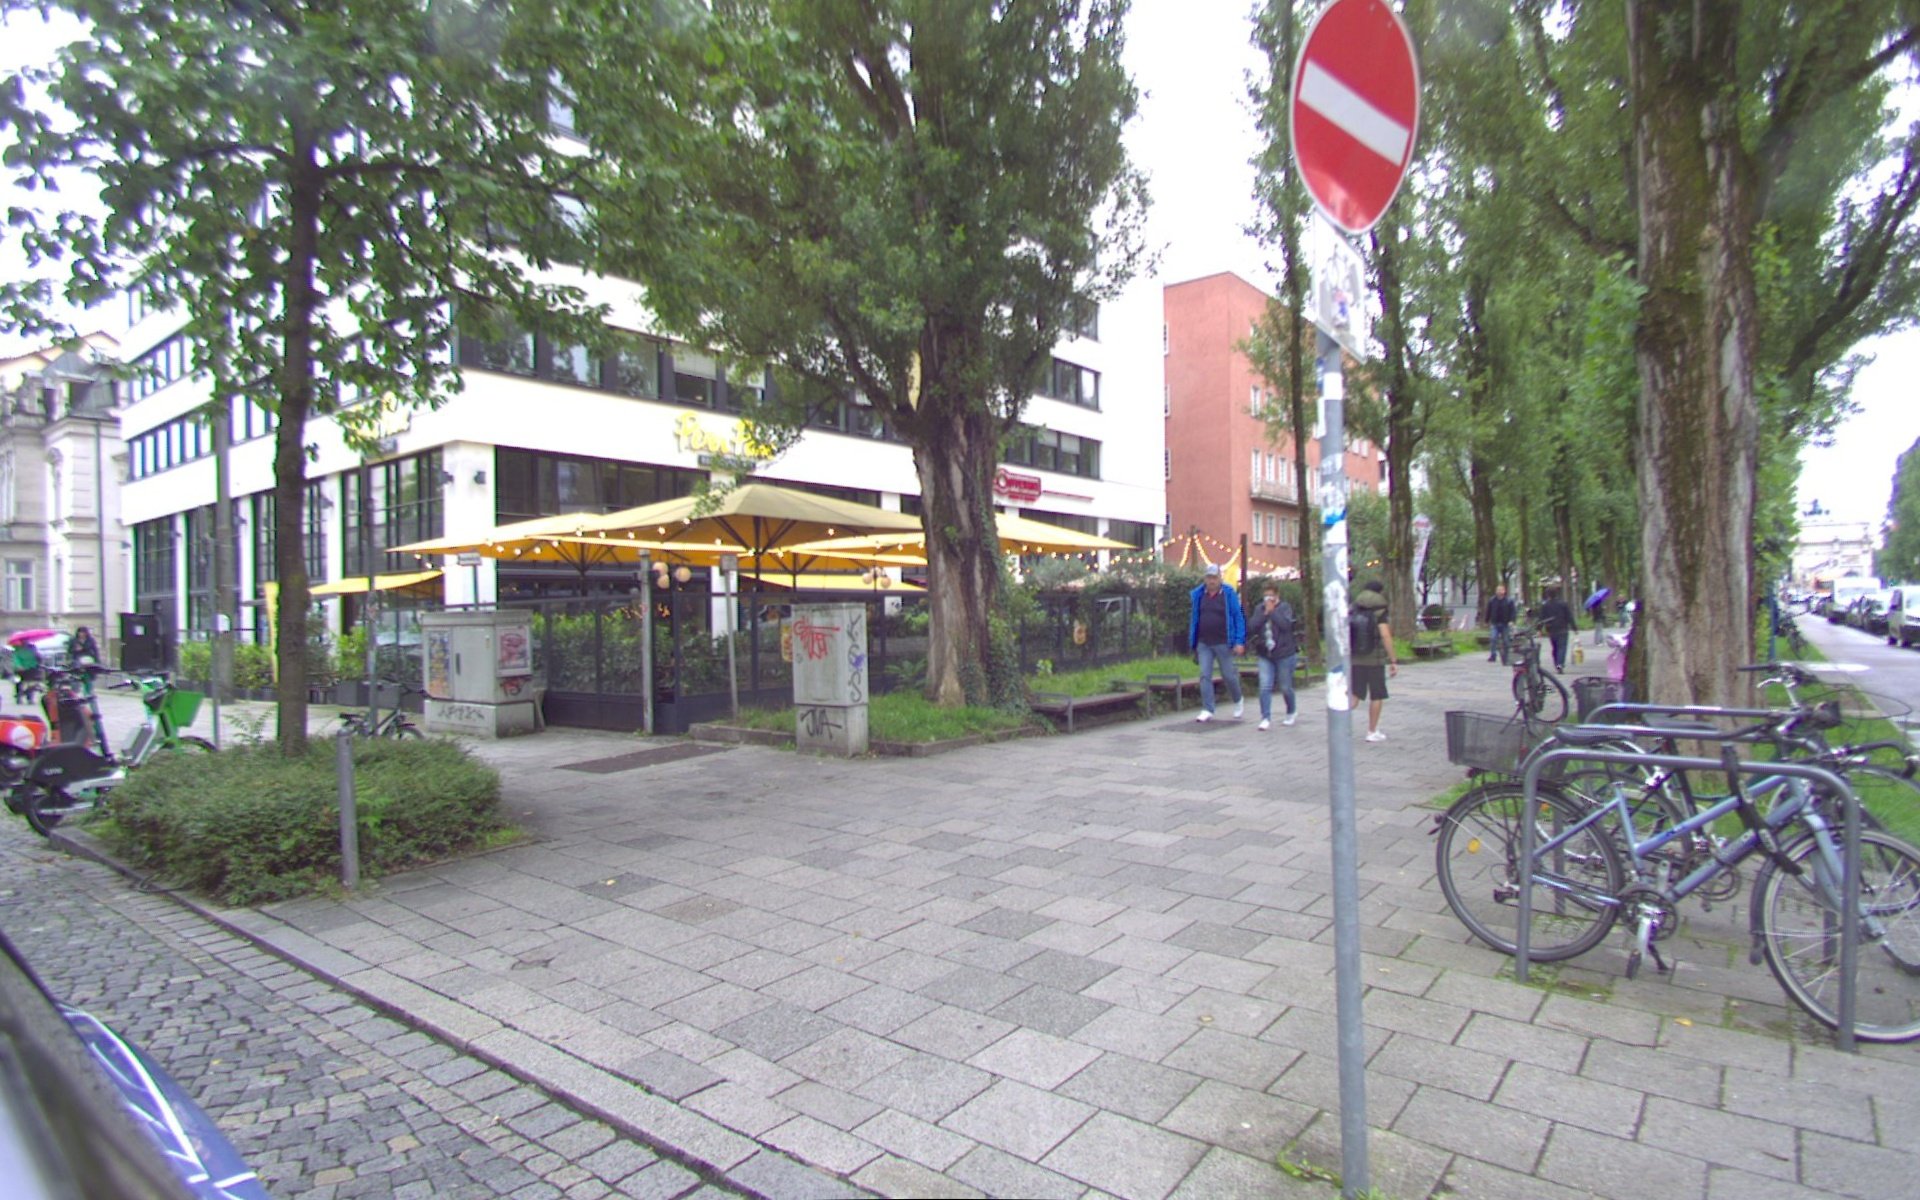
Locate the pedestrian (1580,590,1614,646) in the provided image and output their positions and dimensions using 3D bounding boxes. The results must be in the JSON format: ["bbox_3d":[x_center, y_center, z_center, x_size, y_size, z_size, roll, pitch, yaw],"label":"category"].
[{"bbox_3d":[19.723,0.561,31.347,0.736,1.705,0.638,-2,-1,43],"label":"pedestrian"}]

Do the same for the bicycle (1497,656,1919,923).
[{"bbox_3d":[3.797,0.847,4.958,1.984,1.101,0.484,-2,-1,44],"label":"bicycle"}]

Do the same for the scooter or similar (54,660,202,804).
[{"bbox_3d":[-8.198,1.262,10.026,0.323,1.282,1.248,-1,-2,7],"label":"scooter or similar"}]

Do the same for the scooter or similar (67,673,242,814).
[{"bbox_3d":[-7.493,1.297,9.456,0.327,1.153,1.235,-2,-1,38],"label":"scooter or similar"}]

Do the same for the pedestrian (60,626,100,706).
[{"bbox_3d":[-19.780,1.472,22.754,0.650,1.761,0.568,-2,-1,38],"label":"pedestrian"}]

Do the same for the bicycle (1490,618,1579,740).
[{"bbox_3d":[6.247,0.808,10.977,0.582,1.197,1.595,-2,-1,38],"label":"bicycle"}]

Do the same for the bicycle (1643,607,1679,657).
[{"bbox_3d":[17.760,0.784,25.629,0.582,1.197,2.114,-2,-1,38],"label":"bicycle"}]

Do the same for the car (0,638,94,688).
[{"bbox_3d":[-31.451,2.119,34.737,4.164,1.544,1.889,-2,-1,39],"label":"car"}]

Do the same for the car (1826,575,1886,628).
[{"bbox_3d":[48.069,0.075,54.411,2.010,2.652,5.923,-2,-1,38],"label":"car"}]

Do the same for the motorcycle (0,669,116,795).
[{"bbox_3d":[-9.963,1.357,10.666,0.758,1.205,1.995,0,-3,-11],"label":"motorcycle"}]

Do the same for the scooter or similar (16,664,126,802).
[{"bbox_3d":[-9.117,1.319,10.424,0.322,1.283,1.362,-1,-2,-18],"label":"scooter or similar"}]

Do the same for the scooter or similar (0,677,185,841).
[{"bbox_3d":[-7.350,1.274,8.482,0.366,1.153,1.423,-2,-1,14],"label":"scooter or similar"}]

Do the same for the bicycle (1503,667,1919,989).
[{"bbox_3d":[3.237,0.851,4.132,1.703,1.101,0.484,-2,-1,44],"label":"bicycle"}]

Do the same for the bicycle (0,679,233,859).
[{"bbox_3d":[-6.752,1.263,8.028,0.547,1.152,1.759,-1,-1,7],"label":"bicycle"}]

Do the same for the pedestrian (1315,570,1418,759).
[{"bbox_3d":[4.061,0.612,10.112,0.752,1.786,0.695,-1,0,43],"label":"pedestrian"}]

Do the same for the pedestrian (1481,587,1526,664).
[{"bbox_3d":[12.308,0.566,22.916,0.736,1.705,0.638,-2,-1,43],"label":"pedestrian"}]

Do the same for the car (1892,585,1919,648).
[{"bbox_3d":[28.812,0.487,29.459,2.009,1.771,3.950,-3,-3,37],"label":"car"}]

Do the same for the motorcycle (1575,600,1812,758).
[{"bbox_3d":[6.836,0.671,9.593,0.620,1.204,1.994,-1,4,-5],"label":"motorcycle"}]

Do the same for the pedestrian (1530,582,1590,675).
[{"bbox_3d":[11.556,0.539,19.487,0.857,1.724,0.947,-2,-1,37],"label":"pedestrian"}]

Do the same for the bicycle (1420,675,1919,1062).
[{"bbox_3d":[2.631,0.855,3.628,1.703,1.101,0.484,-2,-1,44],"label":"bicycle"}]

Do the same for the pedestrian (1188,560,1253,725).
[{"bbox_3d":[3.138,0.506,12.214,0.697,1.922,0.642,-1,-1,15],"label":"pedestrian"}]

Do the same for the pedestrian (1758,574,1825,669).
[{"bbox_3d":[16.756,0.431,20.422,0.887,1.857,0.760,-2,-1,31],"label":"pedestrian"}]

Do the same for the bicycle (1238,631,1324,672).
[{"bbox_3d":[7.554,1.198,23.852,1.798,0.919,0.613,-2,-1,37],"label":"bicycle"}]

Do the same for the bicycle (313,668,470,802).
[{"bbox_3d":[-5.072,1.149,8.983,1.760,1.030,0.547,-2,-1,37],"label":"bicycle"}]

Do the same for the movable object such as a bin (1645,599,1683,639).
[{"bbox_3d":[25.374,0.674,36.484,1.061,1.415,0.971,-2,-1,36],"label":"movable object such as a bin"}]

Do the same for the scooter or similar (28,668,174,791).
[{"bbox_3d":[-8.722,1.310,10.284,1.236,1.189,0.389,-2,-1,7],"label":"scooter or similar"}]

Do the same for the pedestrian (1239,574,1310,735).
[{"bbox_3d":[3.527,0.605,11.396,0.697,1.741,0.642,-1,-1,15],"label":"pedestrian"}]

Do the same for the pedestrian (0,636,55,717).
[{"bbox_3d":[-20.690,1.668,22.371,0.799,1.719,0.917,-2,-1,41],"label":"pedestrian"}]

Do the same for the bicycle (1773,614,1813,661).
[{"bbox_3d":[19.655,0.873,23.897,0.553,1.030,1.742,-2,-1,35],"label":"bicycle"}]

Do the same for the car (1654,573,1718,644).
[{"bbox_3d":[33.534,0.387,46.712,2.196,3.040,5.926,-2,-1,36],"label":"car"}]
